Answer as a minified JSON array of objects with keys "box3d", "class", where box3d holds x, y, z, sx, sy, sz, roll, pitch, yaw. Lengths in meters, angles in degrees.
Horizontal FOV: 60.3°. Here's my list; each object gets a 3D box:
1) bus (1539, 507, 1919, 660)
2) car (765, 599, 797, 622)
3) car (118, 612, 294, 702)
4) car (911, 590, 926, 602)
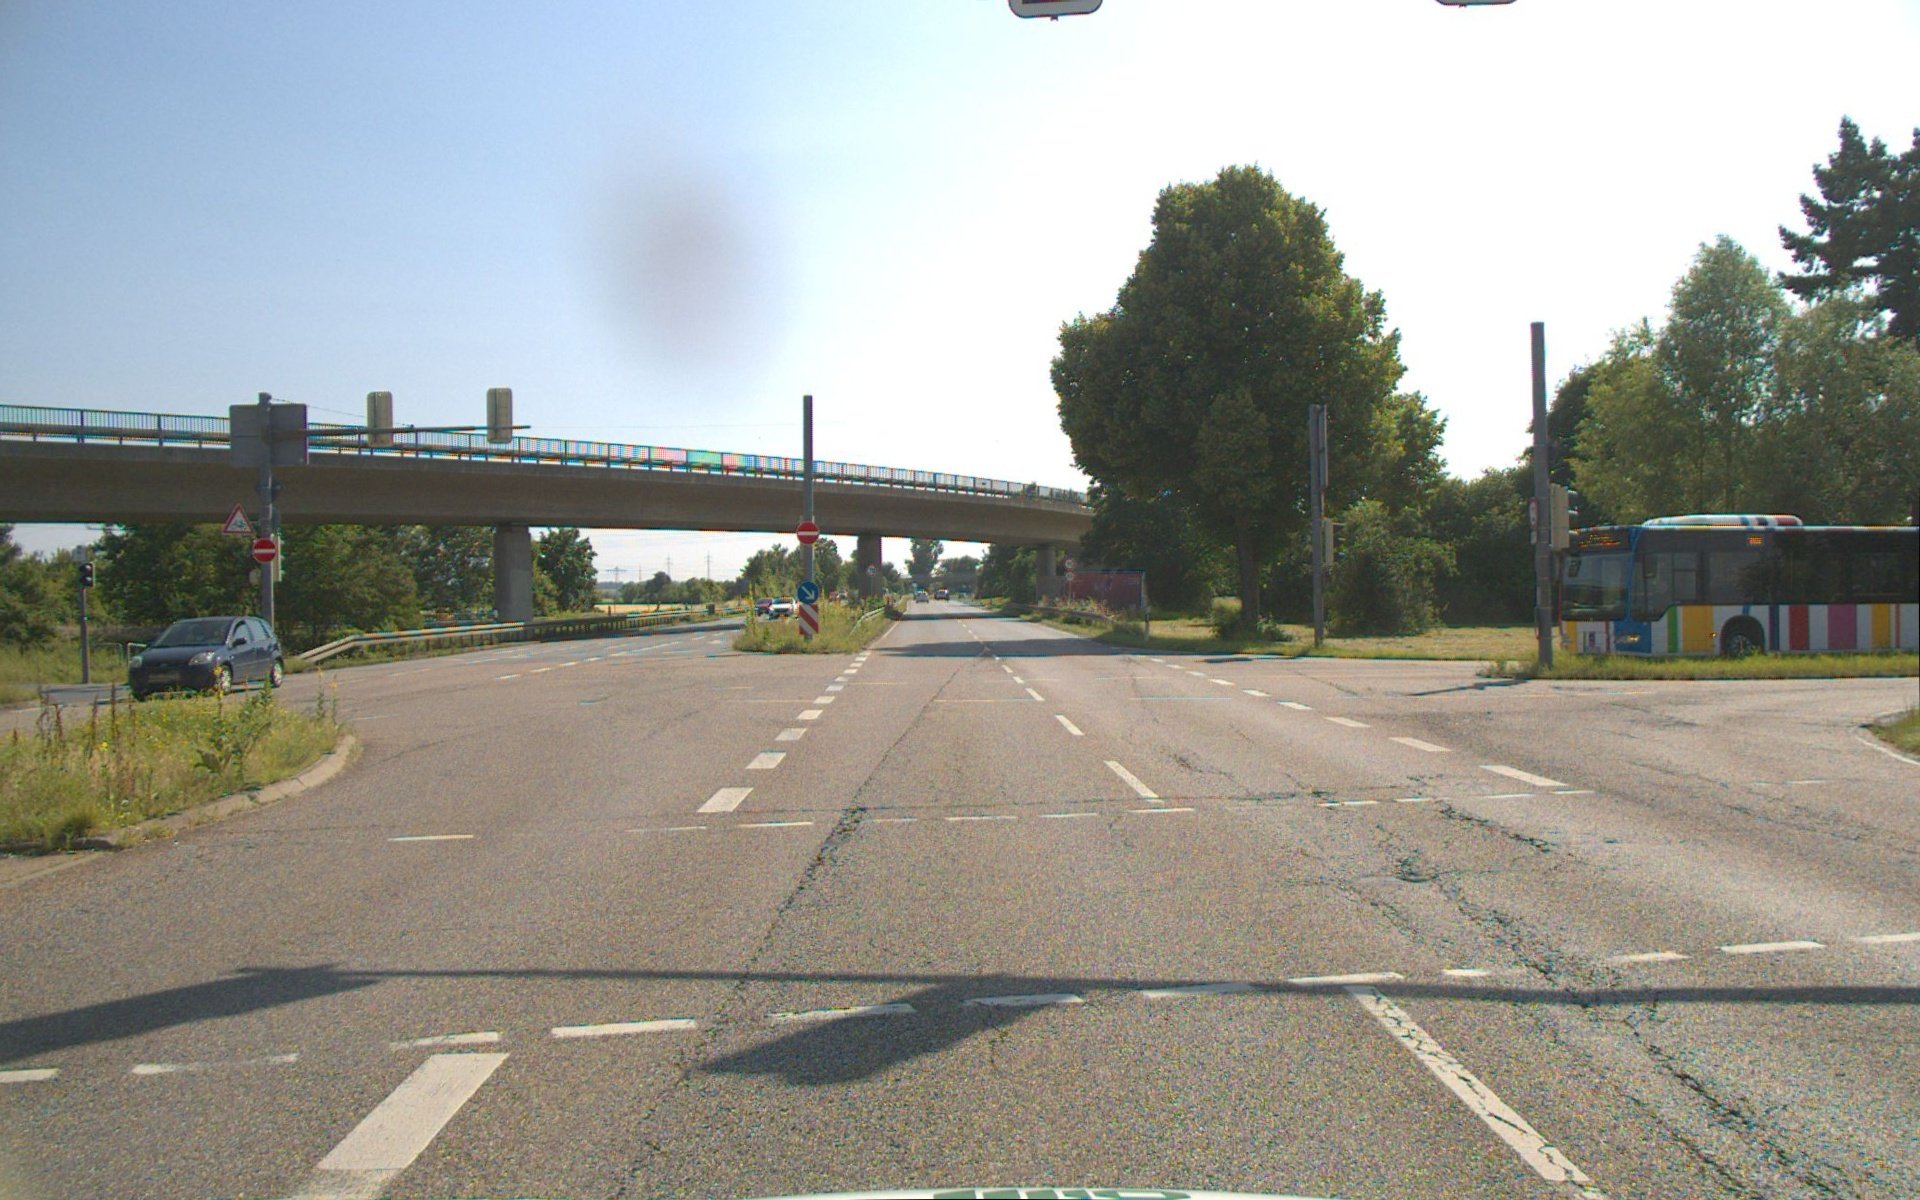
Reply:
[{"box3d":[18.459,-0.436,35.646,11.745,2.927,2.929,-2,0,-16],"class":"bus"},{"box3d":[-12.329,0.722,113.986,1.819,1.473,4.239,-3,0,-2],"class":"car"},{"box3d":[-14.195,1.028,31.380,1.582,1.467,3.775,-3,0,-1],"class":"car"},{"box3d":[-5.443,-0.489,217.642,1.813,1.486,4.000,-3,0,0],"class":"car"}]
